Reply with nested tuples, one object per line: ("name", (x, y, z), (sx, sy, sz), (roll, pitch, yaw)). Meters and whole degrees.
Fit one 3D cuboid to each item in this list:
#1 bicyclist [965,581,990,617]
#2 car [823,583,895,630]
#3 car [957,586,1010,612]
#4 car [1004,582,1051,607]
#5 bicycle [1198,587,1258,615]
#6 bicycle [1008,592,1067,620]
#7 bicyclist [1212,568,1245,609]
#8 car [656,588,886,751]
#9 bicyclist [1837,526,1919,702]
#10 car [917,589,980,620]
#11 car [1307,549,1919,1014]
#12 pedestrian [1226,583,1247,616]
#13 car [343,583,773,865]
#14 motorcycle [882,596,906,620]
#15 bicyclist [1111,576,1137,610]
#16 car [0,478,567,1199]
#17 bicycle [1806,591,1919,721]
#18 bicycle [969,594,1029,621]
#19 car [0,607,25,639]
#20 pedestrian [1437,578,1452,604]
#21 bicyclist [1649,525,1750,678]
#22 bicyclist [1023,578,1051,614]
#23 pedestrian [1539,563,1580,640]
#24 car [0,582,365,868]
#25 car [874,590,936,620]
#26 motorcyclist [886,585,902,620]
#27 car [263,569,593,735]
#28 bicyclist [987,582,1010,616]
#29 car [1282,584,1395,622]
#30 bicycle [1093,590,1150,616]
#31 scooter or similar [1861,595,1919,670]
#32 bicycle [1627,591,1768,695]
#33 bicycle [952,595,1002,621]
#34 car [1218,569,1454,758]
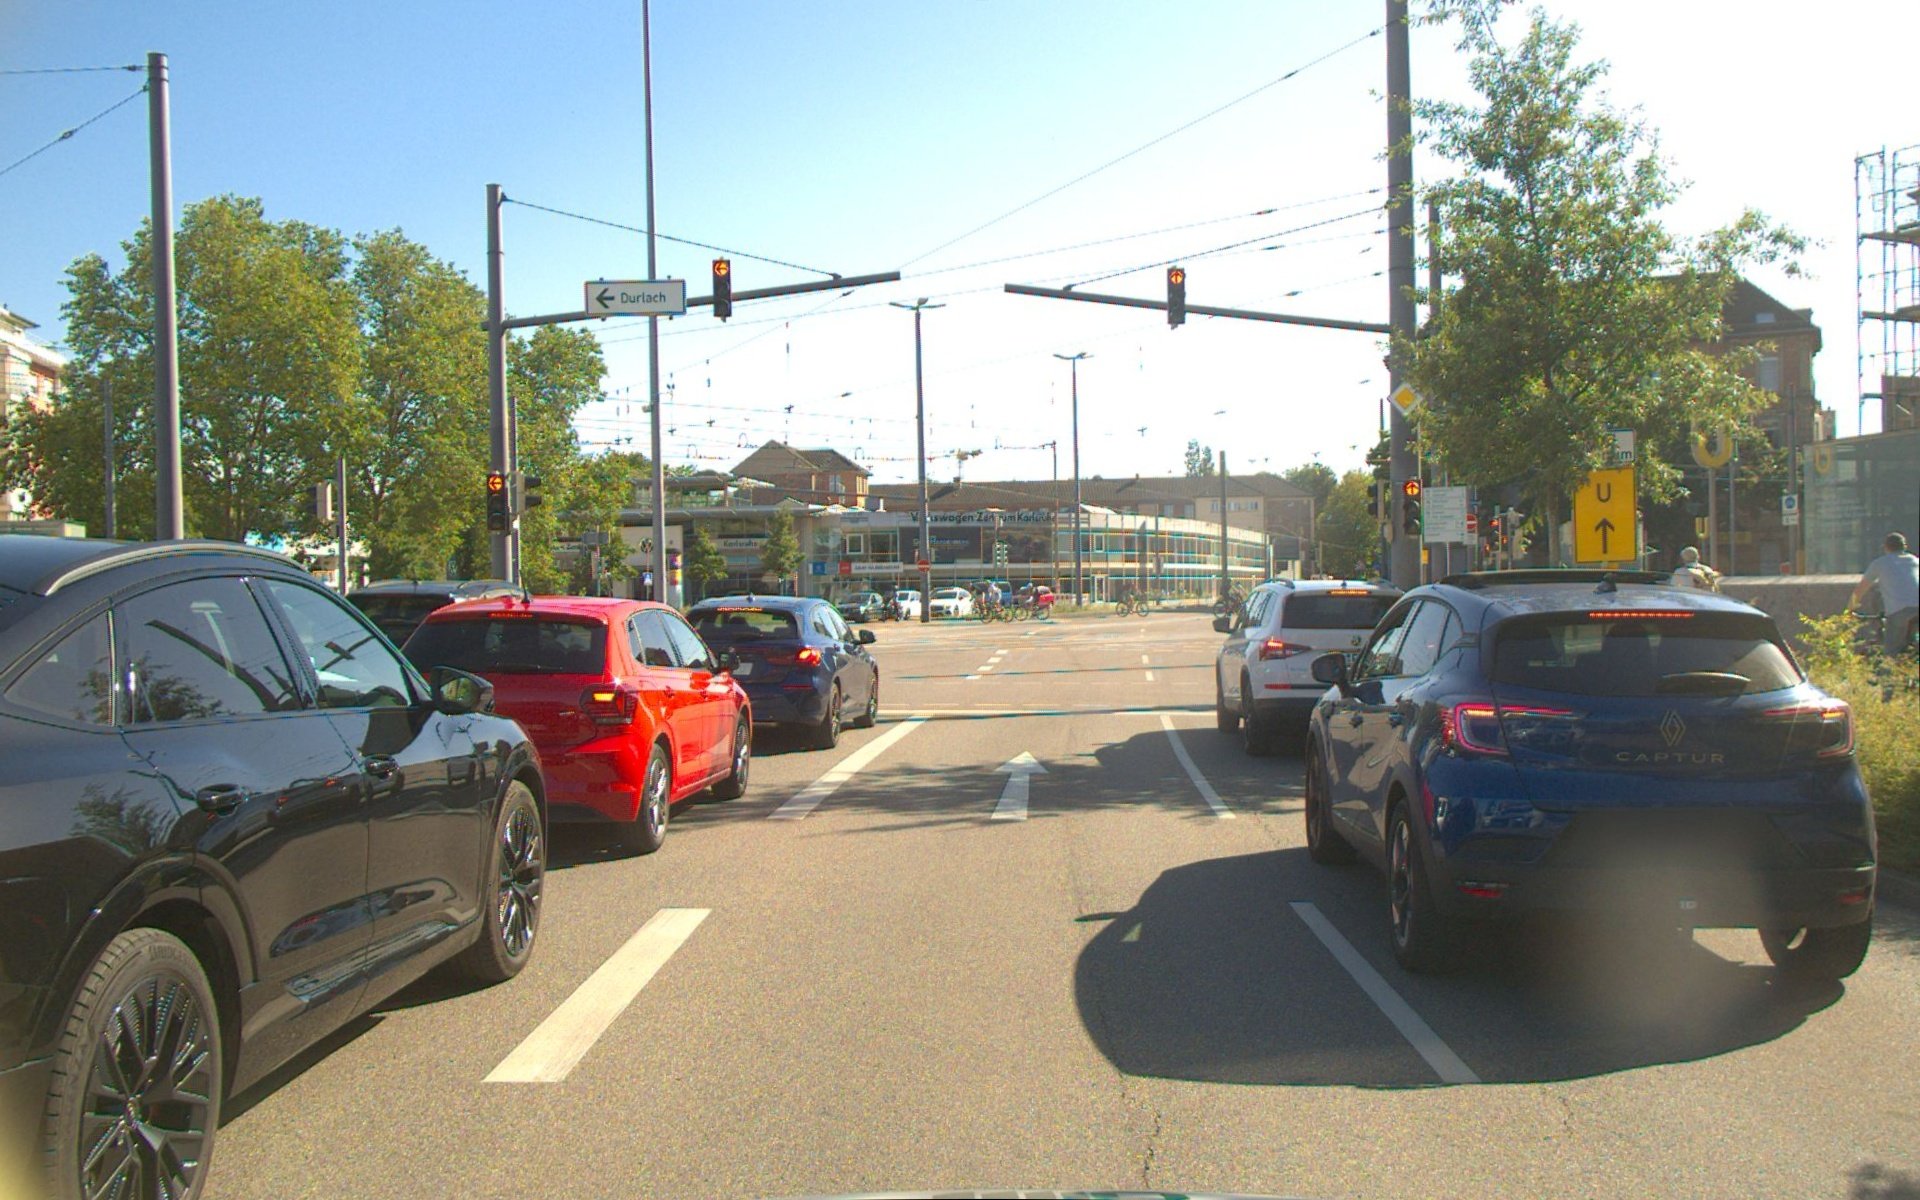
("bicyclist", (0.775, -0.039, 75.088), (0.969, 1.632, 0.756), (-1, 0, -13))
("car", (-4.797, 0.280, 79.035), (1.953, 2.048, 4.001), (1, 3, 22))
("car", (1.408, -0.066, 97.124), (1.690, 1.467, 4.184), (1, 0, 21))
("car", (4.282, -0.345, 103.937), (1.690, 1.467, 4.184), (1, 0, 21))
("bicycle", (12.238, 0.039, 75.488), (2.609, 1.209, 0.941), (-1, 2, -22))
("bicycle", (3.587, 0.269, 76.582), (2.602, 1.209, 0.944), (-1, 2, -15))
("bicyclist", (12.252, -0.522, 75.463), (1.167, 1.807, 0.941), (-1, 2, -22))
("car", (-1.841, 0.631, 17.248), (1.689, 1.467, 3.801), (1, 0, 4))
("bicyclist", (9.151, 0.118, 16.027), (0.706, 1.645, 0.976), (-1, 0, -6))
("car", (-0.545, 0.211, 82.970), (1.689, 1.468, 4.184), (-1, 0, 21))
("car", (2.825, 0.647, 7.839), (1.837, 1.646, 3.799), (0, 0, 4))
("pedestrian", (14.197, -0.040, 84.837), (0.842, 1.639, 0.695), (-2, 3, -35))
("car", (-2.383, 0.654, 10.759), (1.636, 1.467, 3.723), (1, 0, 4))
("motorcycle", (-3.142, 0.386, 78.583), (0.550, 1.113, 1.837), (-1, 0, 17))
("bicyclist", (7.943, -0.348, 80.144), (1.045, 1.611, 0.944), (-1, 2, -14))
("car", (-2.595, 0.607, 4.674), (1.943, 1.652, 4.377), (0, 0, 0))
("bicycle", (9.152, 0.511, 16.127), (0.702, 1.185, 1.868), (-1, 1, -5))
("bicycle", (1.717, 0.327, 72.935), (2.590, 1.114, 0.968), (-1, 0, -2))
("car", (-44.091, 1.059, 74.437), (3.211, 1.339, 1.519), (-1, 2, -17))
("pedestrian", (27.839, -0.516, 95.066), (0.586, 1.434, 0.800), (0, 2, -2))
("bicyclist", (8.956, 0.015, 20.066), (0.706, 1.793, 0.976), (-1, 0, -6))
("bicyclist", (3.562, -0.186, 76.580), (1.045, 1.611, 0.944), (-1, 2, -14))
("pedestrian", (13.774, 0.044, 37.997), (0.585, 1.753, 0.865), (-2, -3, 41))
("car", (-5.344, 0.635, 10.413), (1.689, 1.468, 3.800), (0, 0, 2))
("car", (-2.828, 0.239, 85.402), (1.689, 1.468, 4.184), (-1, 0, 21))
("motorcyclist", (-3.141, 0.097, 78.588), (0.538, 1.649, 0.745), (-1, 0, 17))
("car", (-5.271, 0.461, 16.965), (1.688, 1.467, 3.913), (1, 0, 7))
("bicyclist", (1.684, -0.050, 72.935), (0.942, 1.474, 0.968), (-1, 0, -2))
("car", (15.637, 0.138, 68.371), (4.290, 1.467, 1.723), (1, 0, -17))
("bicycle", (7.837, 0.132, 80.142), (2.602, 1.209, 0.944), (-1, 2, -15))
("scooter or similar", (13.785, 0.471, 24.012), (0.460, 1.030, 1.243), (-1, 2, -18))
("bicycle", (8.955, 0.496, 20.169), (0.731, 1.185, 1.868), (-1, 1, -6))
("bicycle", (0.772, 0.360, 75.086), (2.141, 1.114, 0.756), (-1, 0, -14))
("car", (3.607, 0.559, 16.453), (1.837, 1.646, 3.627), (1, 0, 6))
